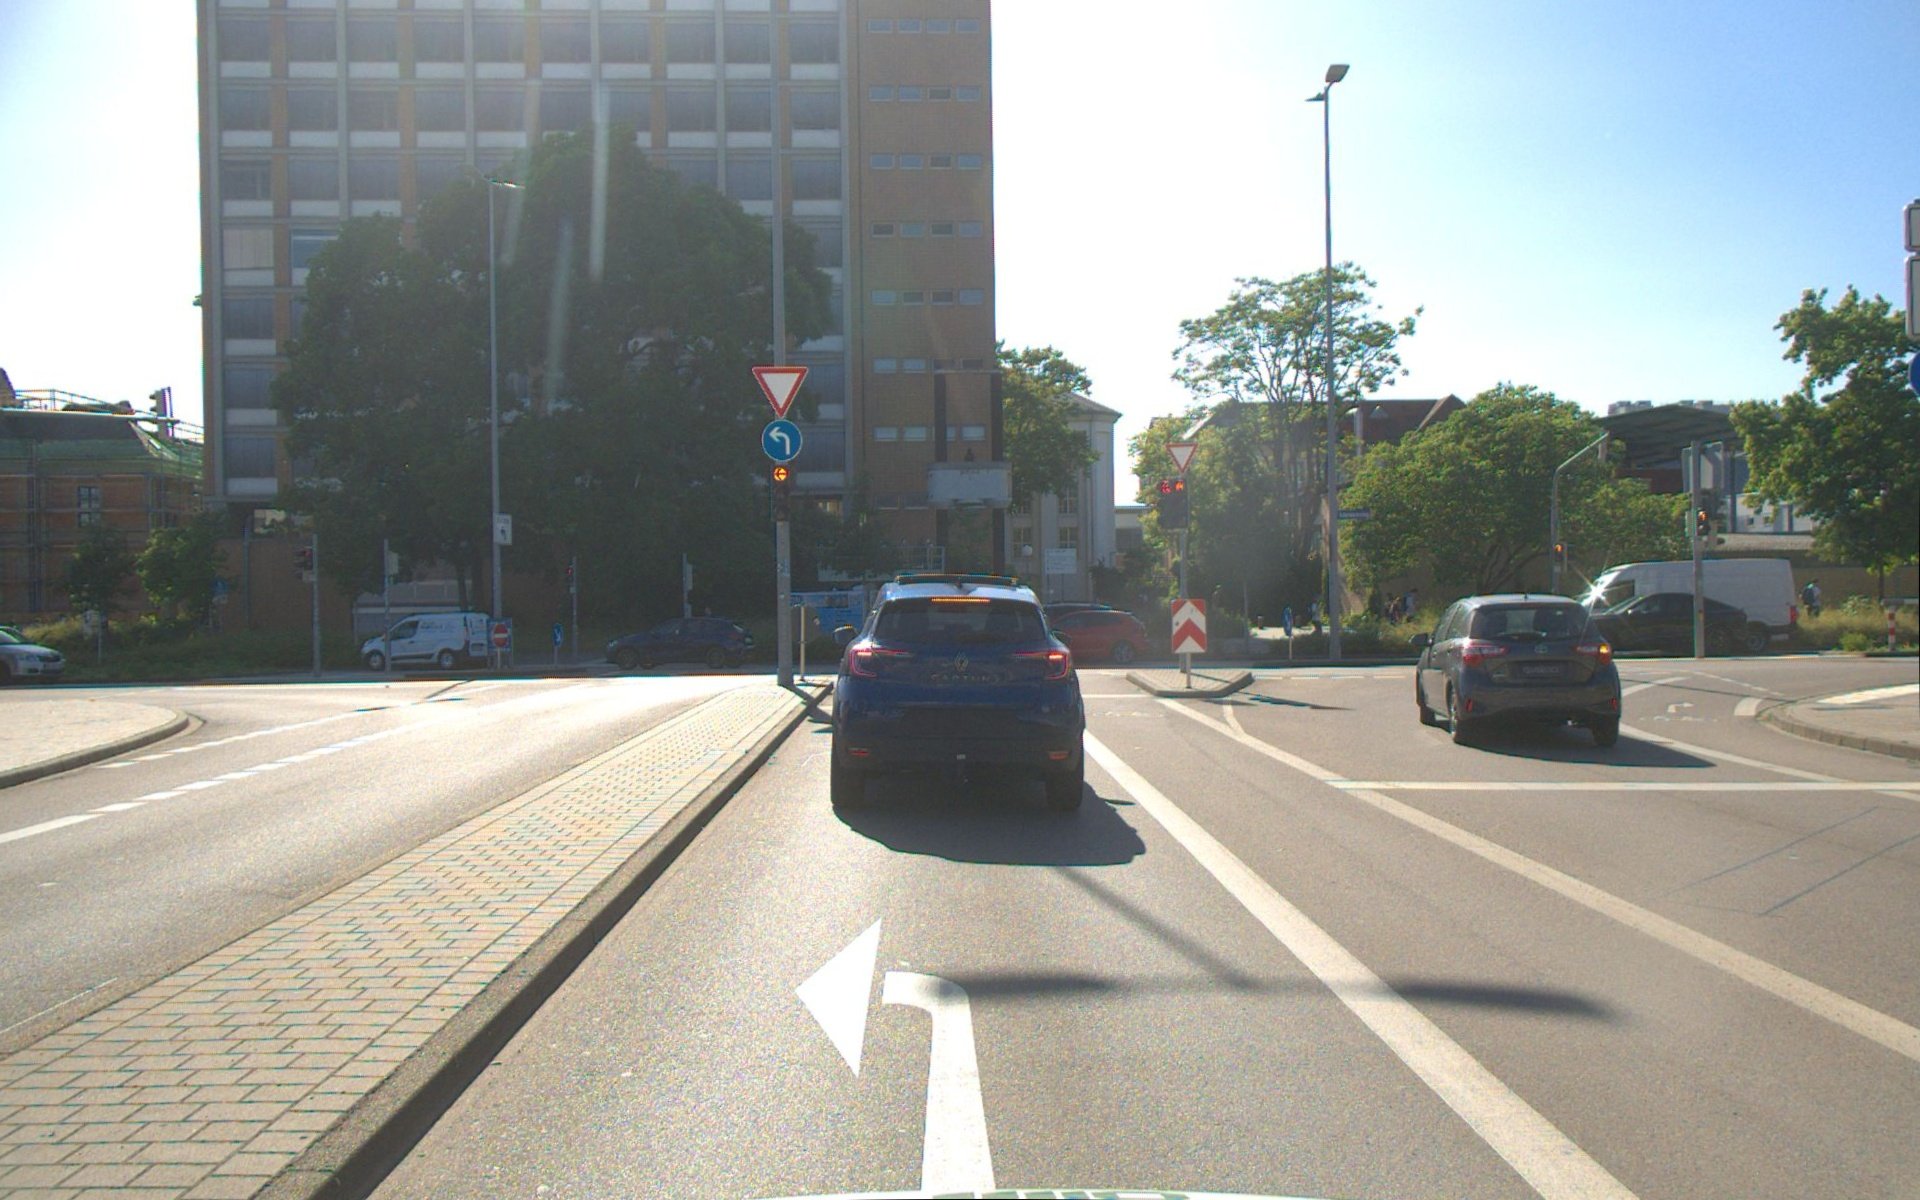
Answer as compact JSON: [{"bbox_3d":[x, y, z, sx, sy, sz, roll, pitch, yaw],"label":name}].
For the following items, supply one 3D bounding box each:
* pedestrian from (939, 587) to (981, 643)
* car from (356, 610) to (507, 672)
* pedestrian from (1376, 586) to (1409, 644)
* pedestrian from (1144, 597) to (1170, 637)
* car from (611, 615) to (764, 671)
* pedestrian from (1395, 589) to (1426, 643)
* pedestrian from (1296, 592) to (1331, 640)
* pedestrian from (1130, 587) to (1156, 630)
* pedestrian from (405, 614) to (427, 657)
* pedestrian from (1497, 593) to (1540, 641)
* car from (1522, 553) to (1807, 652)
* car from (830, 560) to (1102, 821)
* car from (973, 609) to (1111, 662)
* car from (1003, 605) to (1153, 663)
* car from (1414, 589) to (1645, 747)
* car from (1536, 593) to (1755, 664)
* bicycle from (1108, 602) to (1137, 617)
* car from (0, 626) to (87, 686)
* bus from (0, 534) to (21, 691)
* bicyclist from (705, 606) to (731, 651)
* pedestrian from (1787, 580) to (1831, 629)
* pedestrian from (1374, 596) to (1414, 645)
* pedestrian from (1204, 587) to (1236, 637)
[{"bbox_3d":[0.003,0.508,57.294,1.269,1.888,0.967,-1,0,10],"label":"pedestrian"},{"bbox_3d":[-17.029,1.316,53.401,4.083,1.913,2.216,-1,0,16],"label":"car"},{"bbox_3d":[14.225,0.488,54.413,0.912,1.888,0.808,-1,0,8],"label":"pedestrian"},{"bbox_3d":[8.257,0.696,69.324,0.917,1.641,1.175,-1,0,-1],"label":"pedestrian"},{"bbox_3d":[-7.699,1.208,47.011,3.818,1.474,2.103,-1,0,8],"label":"car"},{"bbox_3d":[15.002,0.524,55.034,0.943,1.762,0.926,-1,0,18],"label":"pedestrian"},{"bbox_3d":[11.590,0.511,54.268,1.062,1.547,0.931,-1,0,8],"label":"pedestrian"},{"bbox_3d":[7.686,0.337,69.527,0.933,1.772,0.984,-1,0,-1],"label":"pedestrian"},{"bbox_3d":[-20.424,1.341,62.095,0.522,1.598,0.555,-1,0,24],"label":"pedestrian"},{"bbox_3d":[18.283,0.556,54.165,1.122,1.547,0.942,-1,0,5],"label":"pedestrian"},{"bbox_3d":[19.742,0.067,46.706,6.788,2.591,3.015,-1,0,5],"label":"car"},{"bbox_3d":[-0.027,0.579,12.733,1.758,1.684,3.851,1,0,-2],"label":"car"},{"bbox_3d":[2.380,1.029,48.945,3.961,1.464,2.066,-1,0,0],"label":"car"},{"bbox_3d":[3.253,0.921,45.065,3.958,1.464,2.067,-1,0,7],"label":"car"},{"bbox_3d":[6.171,0.663,18.338,1.699,1.542,4.003,0,0,8],"label":"car"},{"bbox_3d":[17.811,0.743,43.166,4.923,1.702,2.001,1,-1,6],"label":"car"},{"bbox_3d":[10.351,0.604,105.491,1.735,0.914,0.765,-1,0,-1],"label":"bicycle"},{"bbox_3d":[-23.695,1.364,40.549,3.763,1.428,1.893,0,-3,16],"label":"car"},{"bbox_3d":[-28.278,0.380,38.861,12.159,3.633,3.252,-1,0,16],"label":"bus"},{"bbox_3d":[-7.937,0.944,54.261,0.633,1.437,0.639,-2,-2,16],"label":"bicyclist"},{"bbox_3d":[26.959,0.135,52.526,0.951,1.547,0.886,-1,0,2],"label":"pedestrian"},{"bbox_3d":[13.772,0.648,52.533,1.052,1.547,0.879,-1,0,3],"label":"pedestrian"},{"bbox_3d":[11.008,0.498,70.018,1.133,2.049,1.164,-1,0,-1],"label":"pedestrian"}]
